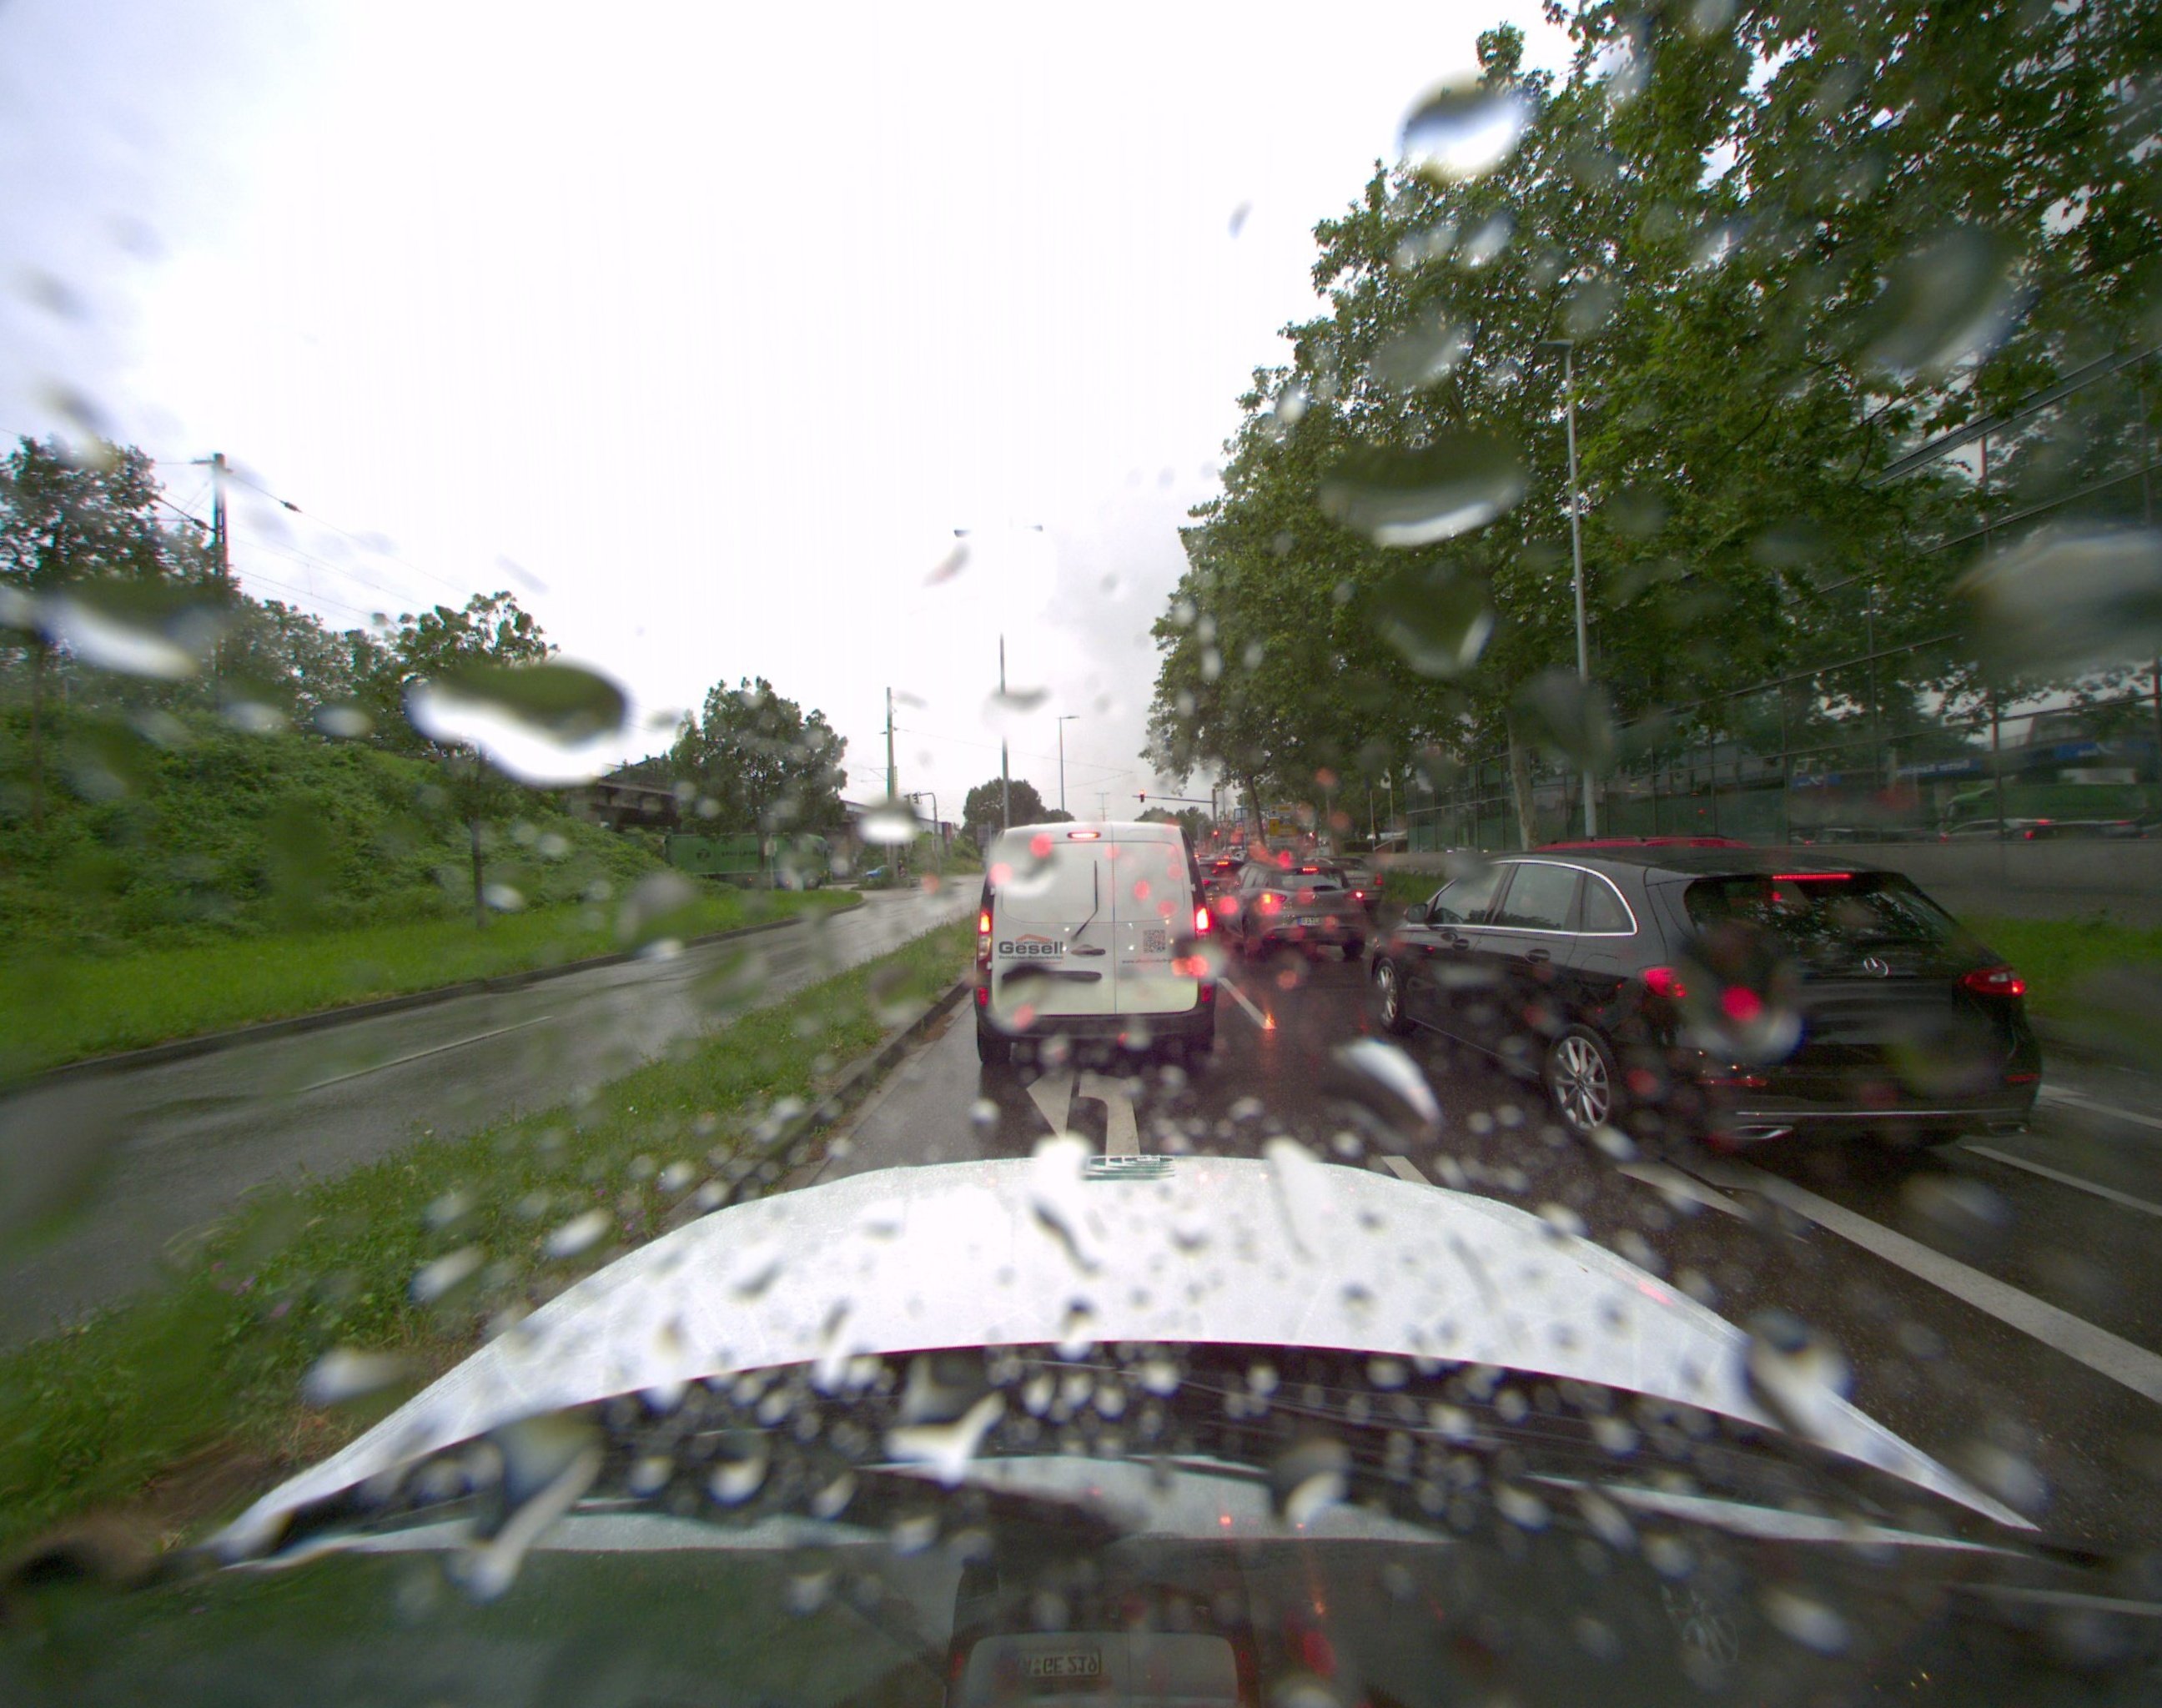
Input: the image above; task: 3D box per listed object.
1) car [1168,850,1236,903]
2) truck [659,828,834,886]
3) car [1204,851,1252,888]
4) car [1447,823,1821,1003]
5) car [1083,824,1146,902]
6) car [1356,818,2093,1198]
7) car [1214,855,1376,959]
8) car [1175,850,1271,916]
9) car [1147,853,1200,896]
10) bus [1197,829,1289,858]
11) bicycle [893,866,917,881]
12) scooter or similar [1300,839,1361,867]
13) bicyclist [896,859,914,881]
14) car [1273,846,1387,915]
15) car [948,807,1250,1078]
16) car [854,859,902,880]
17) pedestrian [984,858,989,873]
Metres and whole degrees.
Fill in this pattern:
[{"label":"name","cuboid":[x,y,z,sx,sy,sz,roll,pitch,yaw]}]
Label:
[{"label":"car","cuboid":[4.059,0.724,27.900,1.847,1.649,3.844,-1,0,2]},{"label":"truck","cuboid":[-21.290,0.106,52.348,10.105,3.371,2.322,-2,0,-35]},{"label":"car","cuboid":[6.904,0.706,38.612,1.702,1.650,3.844,-1,-1,2]},{"label":"car","cuboid":[6.225,0.590,9.896,1.704,1.694,4.273,0,-1,1]},{"label":"car","cuboid":[1.062,0.267,26.550,1.847,2.296,3.844,-1,0,2]},{"label":"car","cuboid":[3.376,0.645,5.448,1.741,1.554,4.091,-1,0,1]},{"label":"car","cuboid":[3.265,0.735,13.151,1.677,1.408,3.844,0,0,1]},{"label":"car","cuboid":[3.501,0.663,20.681,1.847,1.460,3.844,-1,0,2]},{"label":"car","cuboid":[3.754,0.809,33.573,1.847,1.650,3.844,-1,-1,2]},{"label":"bus","cuboid":[21.889,-1.363,110.590,11.926,3.423,2.316,-2,0,1]},{"label":"bicycle","cuboid":[-12.128,1.326,56.022,1.045,0.952,2.866,-2,0,-22]},{"label":"scooter or similar","cuboid":[23.447,-0.088,76.684,1.905,2.446,5.257,-1,0,-39]},{"label":"bicyclist","cuboid":[-12.117,1.079,55.974,1.045,1.450,0.723,-2,0,-23]},{"label":"car","cuboid":[6.310,0.597,21.103,1.869,1.613,4.002,0,0,2]},{"label":"car","cuboid":[0.193,0.587,7.771,1.986,1.776,4.587,-1,0,2]},{"label":"car","cuboid":[-19.157,1.414,76.961,4.021,1.887,1.977,0,1,-40]},{"label":"pedestrian","cuboid":[-11.244,1.357,96.574,0.541,1.716,0.563,0,-1,-2]}]
